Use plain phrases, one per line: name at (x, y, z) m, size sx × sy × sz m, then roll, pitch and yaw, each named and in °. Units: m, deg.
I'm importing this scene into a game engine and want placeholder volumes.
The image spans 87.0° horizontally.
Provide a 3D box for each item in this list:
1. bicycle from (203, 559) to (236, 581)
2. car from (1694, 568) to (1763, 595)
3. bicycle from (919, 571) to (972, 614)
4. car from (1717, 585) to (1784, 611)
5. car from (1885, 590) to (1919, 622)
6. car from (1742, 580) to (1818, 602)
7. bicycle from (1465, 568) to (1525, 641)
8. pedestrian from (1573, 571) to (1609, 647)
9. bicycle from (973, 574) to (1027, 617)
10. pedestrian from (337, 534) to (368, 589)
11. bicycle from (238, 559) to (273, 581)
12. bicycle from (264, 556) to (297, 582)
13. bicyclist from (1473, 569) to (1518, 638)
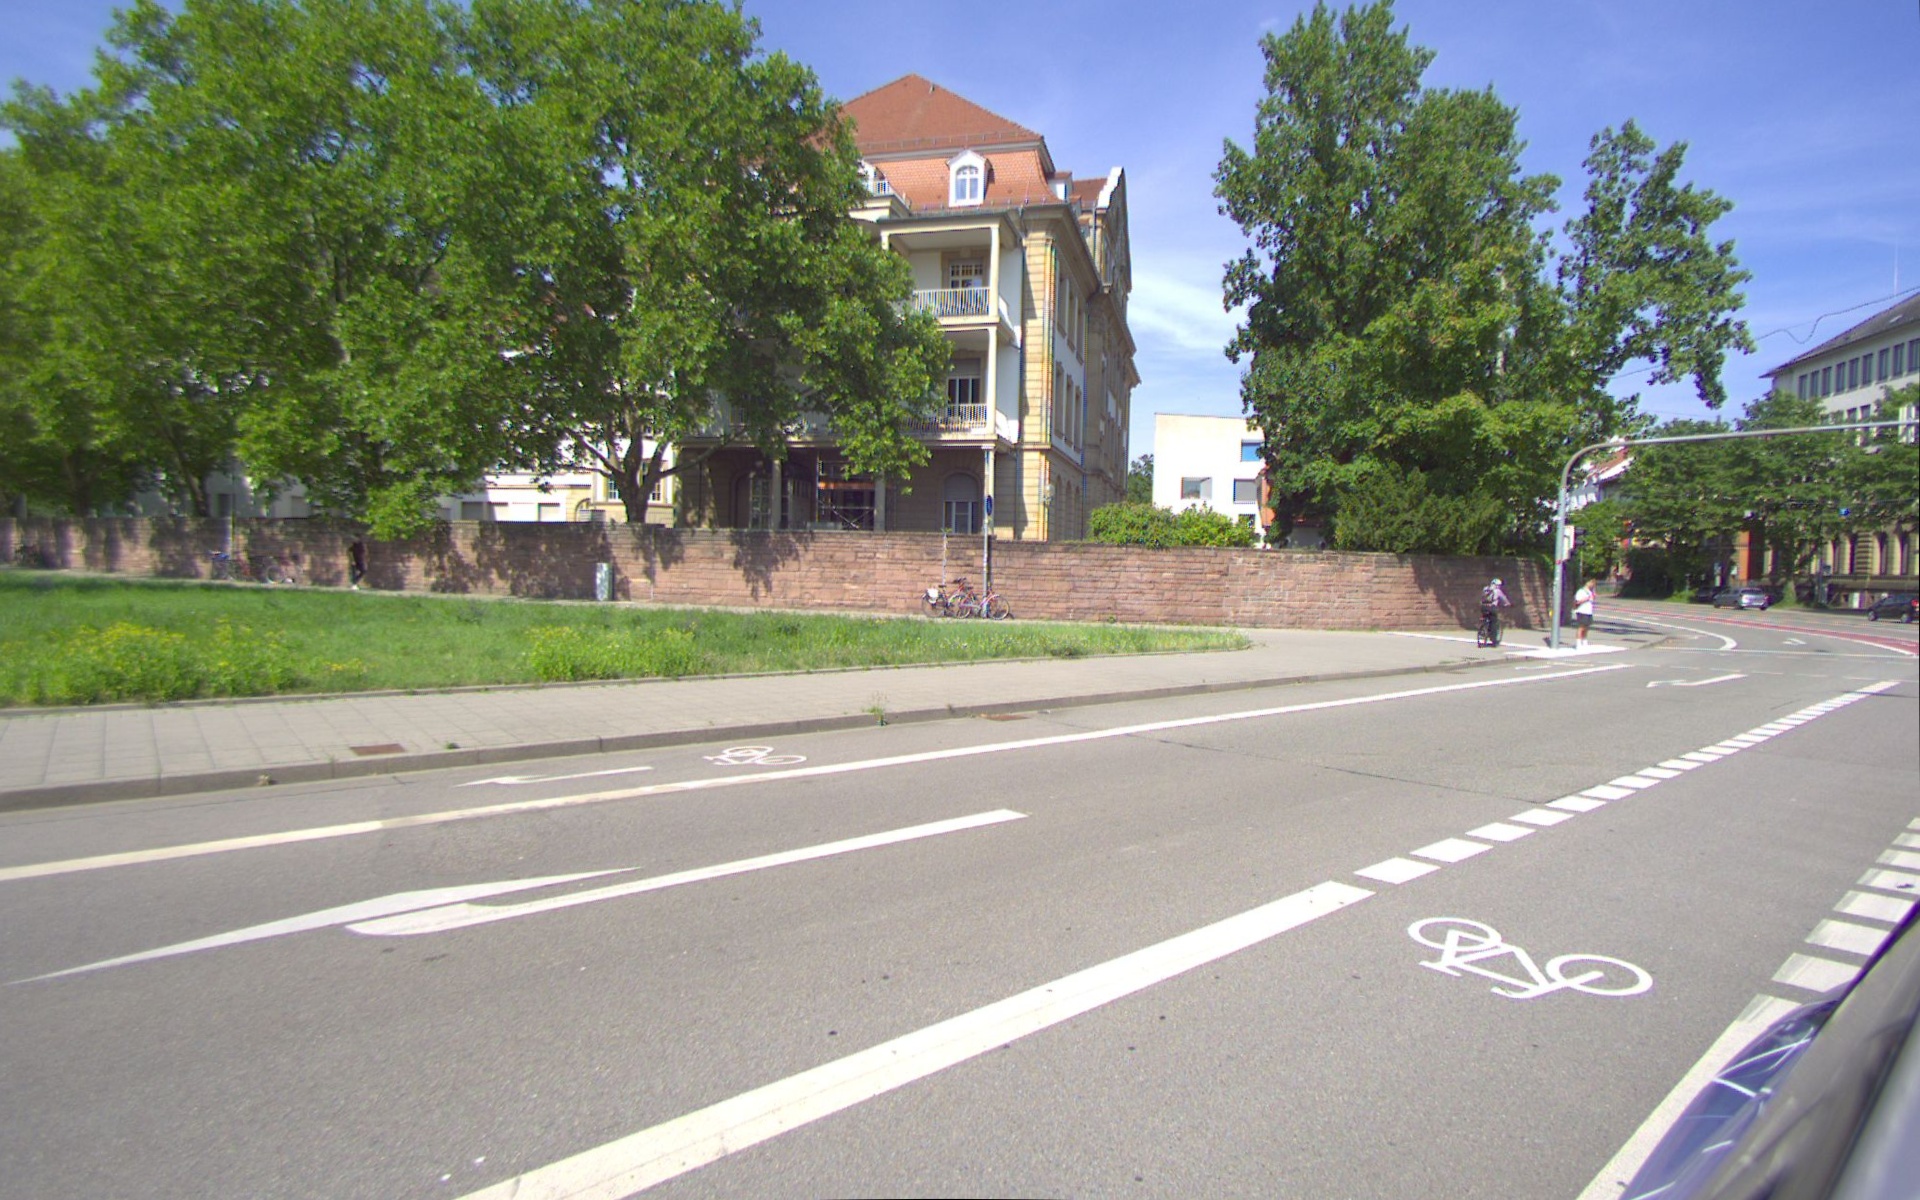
bicycle at (-26.714, -1.089, 36.509) m, size 1.350 × 0.737 × 0.338 m, roll 3°, pitch 2°, yaw 23°
car at (63.017, -1.503, 83.083) m, size 3.941 × 2.038 × 1.992 m, roll 2°, pitch 2°, yaw 14°
bicycle at (-0.396, -0.194, 27.608) m, size 1.406 × 1.136 × 0.350 m, roll 1°, pitch 2°, yaw -27°
car at (51.750, -0.167, 66.323) m, size 1.772 × 1.429 × 3.988 m, roll 3°, pitch 3°, yaw 12°
car at (47.631, 0.386, 49.366) m, size 1.642 × 1.468 × 3.815 m, roll 3°, pitch 3°, yaw 5°
car at (62.673, -0.672, 77.382) m, size 3.941 × 1.482 × 1.992 m, roll 2°, pitch 2°, yaw 14°
bicycle at (13.512, 0.098, 25.542) m, size 1.779 × 1.787 × 0.679 m, roll 0°, pitch 3°, yaw -41°
pedestrian at (16.176, 0.212, 25.970) m, size 0.649 × 1.897 × 0.788 m, roll 4°, pitch 3°, yaw 31°
bicycle at (1.083, -0.124, 27.695) m, size 1.406 × 1.136 × 0.350 m, roll 1°, pitch 2°, yaw -6°
pedestrian at (-20.105, -1.272, 33.497) m, size 0.592 × 1.761 × 0.616 m, roll 2°, pitch 2°, yaw 20°
bicycle at (-25.083, -1.062, 36.023) m, size 1.350 × 0.737 × 0.338 m, roll 3°, pitch 2°, yaw 23°
bicycle at (-23.806, -1.080, 35.445) m, size 1.294 × 0.866 × 0.369 m, roll 3°, pitch 2°, yaw 25°
bicyclist at (13.522, 0.077, 25.556) m, size 0.903 × 1.675 × 0.679 m, roll 0°, pitch 2°, yaw -41°
